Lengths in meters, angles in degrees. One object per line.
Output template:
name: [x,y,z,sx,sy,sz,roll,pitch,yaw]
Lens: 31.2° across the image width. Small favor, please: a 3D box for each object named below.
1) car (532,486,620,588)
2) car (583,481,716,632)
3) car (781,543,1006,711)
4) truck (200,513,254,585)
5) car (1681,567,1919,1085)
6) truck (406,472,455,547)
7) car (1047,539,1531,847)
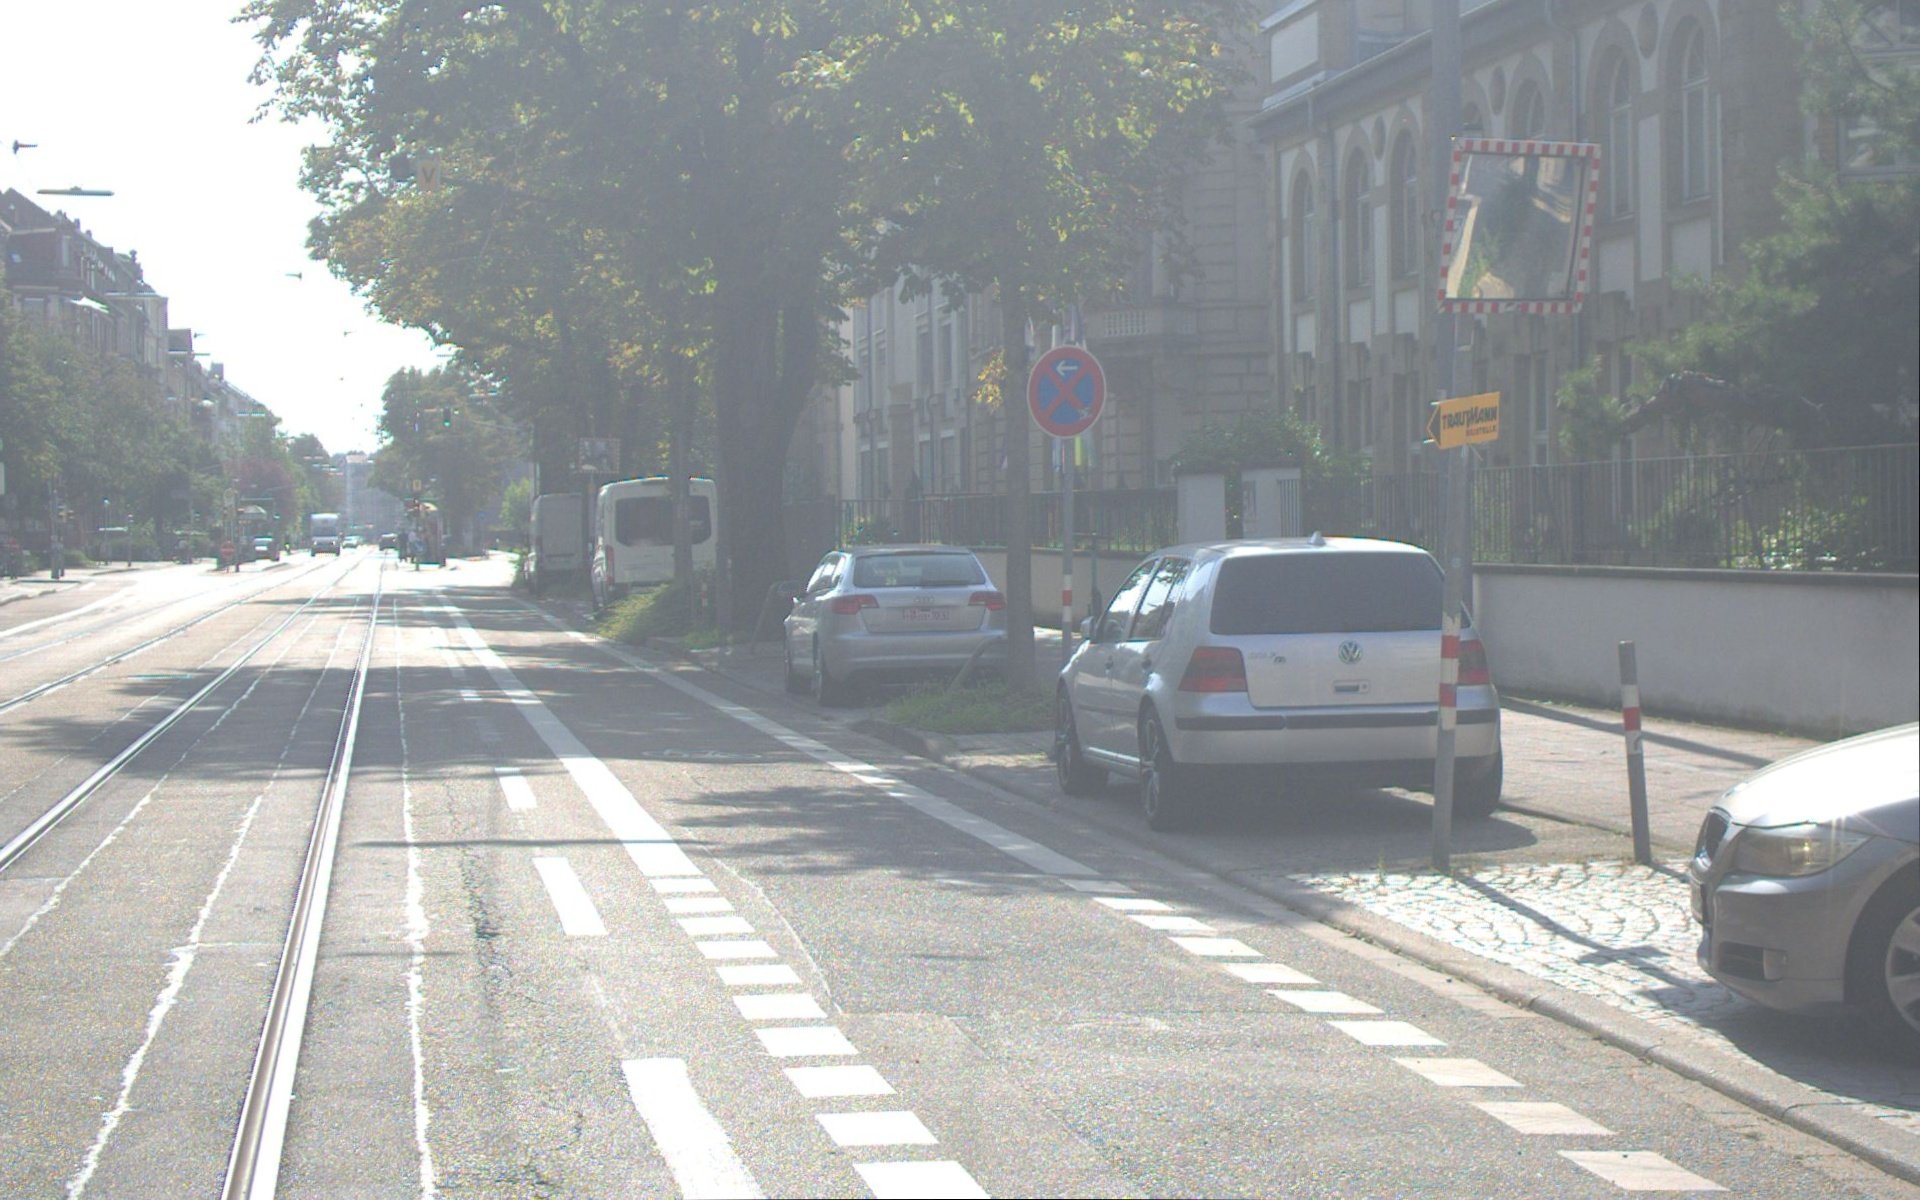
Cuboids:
car: [-9.603,-1.583,85.651,2.004,2.466,4.478,0,1,-8]
car: [-5.385,-0.769,59.163,2.004,2.482,4.478,0,1,-8]
car: [-0.662,0.198,31.417,1.594,1.413,3.635,-1,1,-8]
truck: [-30.900,-2.164,144.950,1.993,2.965,4.572,-1,1,-10]
car: [4.465,0.556,10.227,4.422,1.405,1.805,-2,1,10]
truck: [-22.506,-3.844,146.049,1.860,3.120,4.354,-1,1,-11]
car: [1.598,0.402,17.945,1.689,1.413,3.635,-1,1,-8]
